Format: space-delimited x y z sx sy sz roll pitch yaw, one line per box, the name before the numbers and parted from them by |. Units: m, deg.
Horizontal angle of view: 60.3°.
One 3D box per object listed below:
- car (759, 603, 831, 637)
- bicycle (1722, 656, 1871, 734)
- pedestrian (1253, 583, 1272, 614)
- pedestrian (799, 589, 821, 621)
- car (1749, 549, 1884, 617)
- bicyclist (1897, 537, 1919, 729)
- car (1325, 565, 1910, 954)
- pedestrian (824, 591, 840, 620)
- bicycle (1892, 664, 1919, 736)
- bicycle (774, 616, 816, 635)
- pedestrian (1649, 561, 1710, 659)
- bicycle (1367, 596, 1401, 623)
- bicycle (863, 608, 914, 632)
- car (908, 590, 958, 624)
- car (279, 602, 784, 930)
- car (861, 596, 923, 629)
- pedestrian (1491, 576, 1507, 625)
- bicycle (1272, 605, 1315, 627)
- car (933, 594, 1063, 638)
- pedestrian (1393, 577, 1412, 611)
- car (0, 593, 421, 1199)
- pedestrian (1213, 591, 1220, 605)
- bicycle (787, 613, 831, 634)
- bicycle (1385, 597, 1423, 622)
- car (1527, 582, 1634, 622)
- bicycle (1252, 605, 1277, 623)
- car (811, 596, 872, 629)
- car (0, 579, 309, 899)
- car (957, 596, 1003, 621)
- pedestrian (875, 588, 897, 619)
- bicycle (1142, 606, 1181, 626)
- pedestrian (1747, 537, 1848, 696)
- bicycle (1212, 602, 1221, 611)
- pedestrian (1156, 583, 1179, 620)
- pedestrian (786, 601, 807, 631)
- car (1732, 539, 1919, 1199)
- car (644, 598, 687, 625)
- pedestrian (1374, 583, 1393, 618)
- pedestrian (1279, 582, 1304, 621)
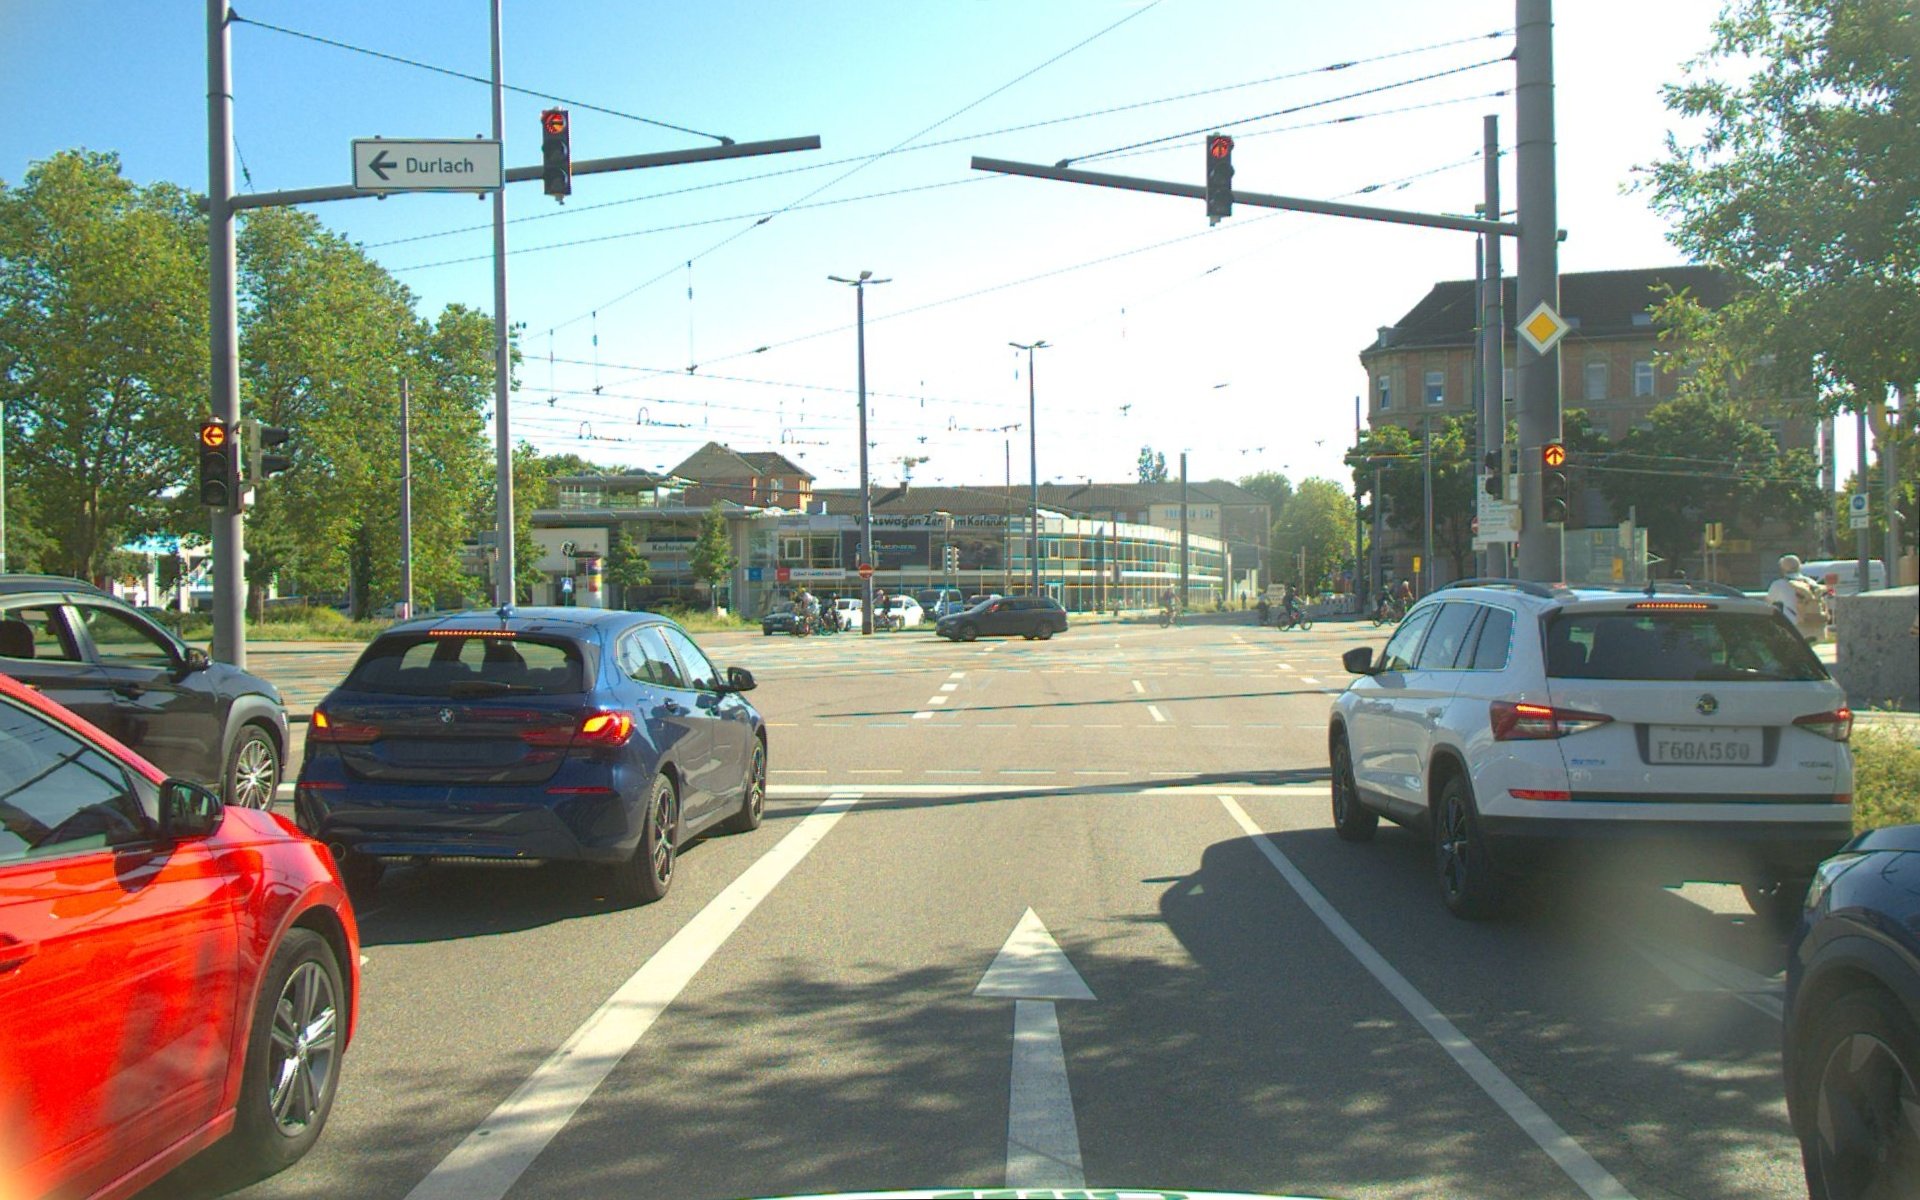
car | -7.067 0.828 71.062 1.668 1.378 3.702 -1 0 20
bicycle | 8.633 0.964 17.143 0.526 0.667 1.724 -3 0 -5
pedestrian | 15.130 -0.081 82.667 0.731 1.549 0.717 -1 0 27
pedestrian | -5.746 0.193 63.284 0.736 1.225 0.421 -1 0 -20
car | 36.660 -0.747 70.777 5.832 2.792 2.126 -1 0 -26
bicyclist | 9.400 0.300 15.401 0.732 1.810 0.923 -2 0 -5
car | 3.323 0.693 9.327 1.660 1.670 4.298 -1 0 1
pedestrian | -5.463 0.241 70.739 0.414 1.225 0.750 -1 0 20
bicycle | 9.401 0.955 15.401 0.526 0.667 1.466 -2 0 -4
bicycle | -6.541 1.003 65.465 1.603 0.730 0.422 -1 0 -17
pedestrian | 14.176 0.194 32.587 0.881 1.892 0.923 -1 0 37
bicycle | 18.616 0.419 72.666 0.539 1.139 2.006 -1 0 43
bicycle | -2.917 0.812 67.488 1.973 0.929 0.559 -1 0 -18
car | -1.411 0.362 88.915 1.592 1.722 3.688 -1 0 17
car | -2.184 0.766 9.603 1.675 1.470 4.033 1 0 3
car | -3.056 0.556 74.953 1.592 1.406 3.740 -1 0 17
pedestrian | 22.673 0.010 69.545 0.453 2.049 0.450 -1 0 -15
bicycle | 14.126 0.681 70.040 1.913 0.885 0.734 -1 0 -41
car | 1.315 0.542 57.271 4.144 1.425 1.850 -1 0 -17
pedestrian | 20.543 -0.278 76.729 0.698 1.543 0.541 0 0 -36
car | -2.493 0.734 3.070 1.635 1.498 3.854 1 0 1
pedestrian | 21.473 -0.173 138.486 0.414 1.225 0.680 -1 0 22
bicycle | -5.776 0.886 63.268 1.605 0.772 0.421 -1 0 -21
bicycle | 20.616 0.446 76.772 1.997 1.139 0.543 -1 0 -37
car | 24.567 0.067 65.463 4.203 1.529 1.688 -1 0 -29
bicycle | 15.259 0.709 82.900 0.728 0.885 1.929 -1 0 27
car | -5.492 0.569 76.953 1.592 1.449 3.688 -1 0 17
car | -5.391 0.665 9.148 1.721 1.544 4.012 0 0 5
car | 1.188 0.457 95.929 1.592 1.388 3.687 -1 0 19
pedestrian | -3.033 0.138 67.457 0.781 1.225 0.557 -1 0 -18
bicycle | 9.169 0.720 75.293 1.915 0.885 0.734 -1 0 -43
pedestrian | 8.631 0.162 17.069 0.537 1.590 0.857 -1 0 -5
bicycle | 21.462 0.526 138.436 0.414 0.730 1.475 -1 0 22
pedestrian | 9.481 0.067 75.645 0.712 1.660 0.793 0 0 -42
pedestrian | -6.464 0.627 65.492 0.735 1.146 0.422 -1 0 -17
car | 2.810 0.690 2.294 1.665 1.634 4.085 0 0 2
car | -19.688 0.757 110.721 1.925 1.736 4.085 -1 0 3
pedestrian | 18.592 0.034 72.628 0.539 1.543 0.702 -1 0 44
pedestrian | 14.050 0.068 70.007 0.711 1.660 0.747 0 0 -39
